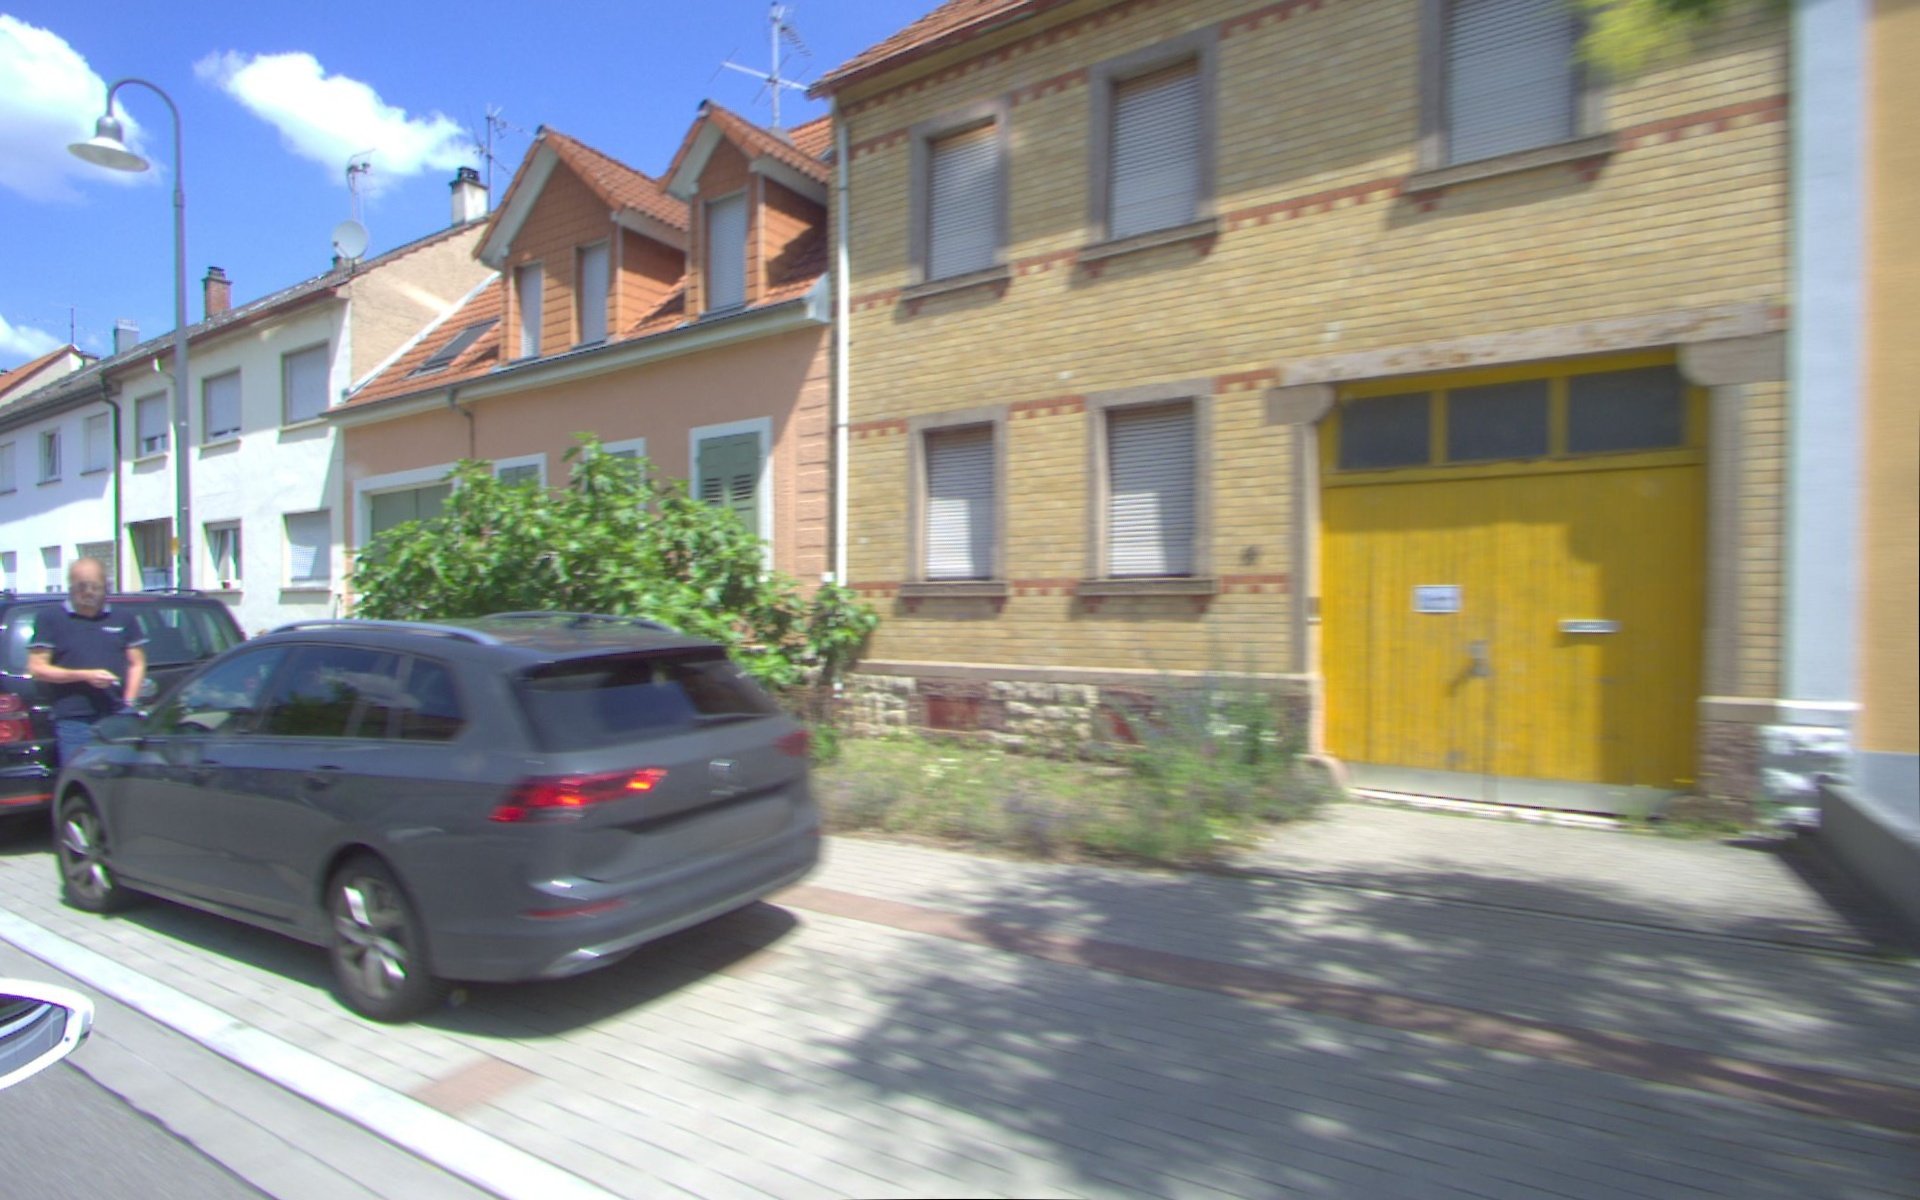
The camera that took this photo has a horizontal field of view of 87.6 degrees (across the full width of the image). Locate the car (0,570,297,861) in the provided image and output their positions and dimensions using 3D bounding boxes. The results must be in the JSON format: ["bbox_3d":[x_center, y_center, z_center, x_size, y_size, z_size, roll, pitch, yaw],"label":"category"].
[{"bbox_3d":[-7.093,0.722,7.742,4.264,1.727,1.763,-1,-1,33],"label":"car"}]

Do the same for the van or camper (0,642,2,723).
[{"bbox_3d":[-15.772,0.224,13.758,5.707,2.848,2.467,0,1,33],"label":"van or camper"}]

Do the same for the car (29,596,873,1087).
[{"bbox_3d":[-2.653,0.778,4.938,4.233,1.508,1.764,-1,-1,31],"label":"car"}]

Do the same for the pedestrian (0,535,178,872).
[{"bbox_3d":[-5.253,0.587,6.035,0.570,1.877,0.715,0,0,33],"label":"pedestrian"}]
